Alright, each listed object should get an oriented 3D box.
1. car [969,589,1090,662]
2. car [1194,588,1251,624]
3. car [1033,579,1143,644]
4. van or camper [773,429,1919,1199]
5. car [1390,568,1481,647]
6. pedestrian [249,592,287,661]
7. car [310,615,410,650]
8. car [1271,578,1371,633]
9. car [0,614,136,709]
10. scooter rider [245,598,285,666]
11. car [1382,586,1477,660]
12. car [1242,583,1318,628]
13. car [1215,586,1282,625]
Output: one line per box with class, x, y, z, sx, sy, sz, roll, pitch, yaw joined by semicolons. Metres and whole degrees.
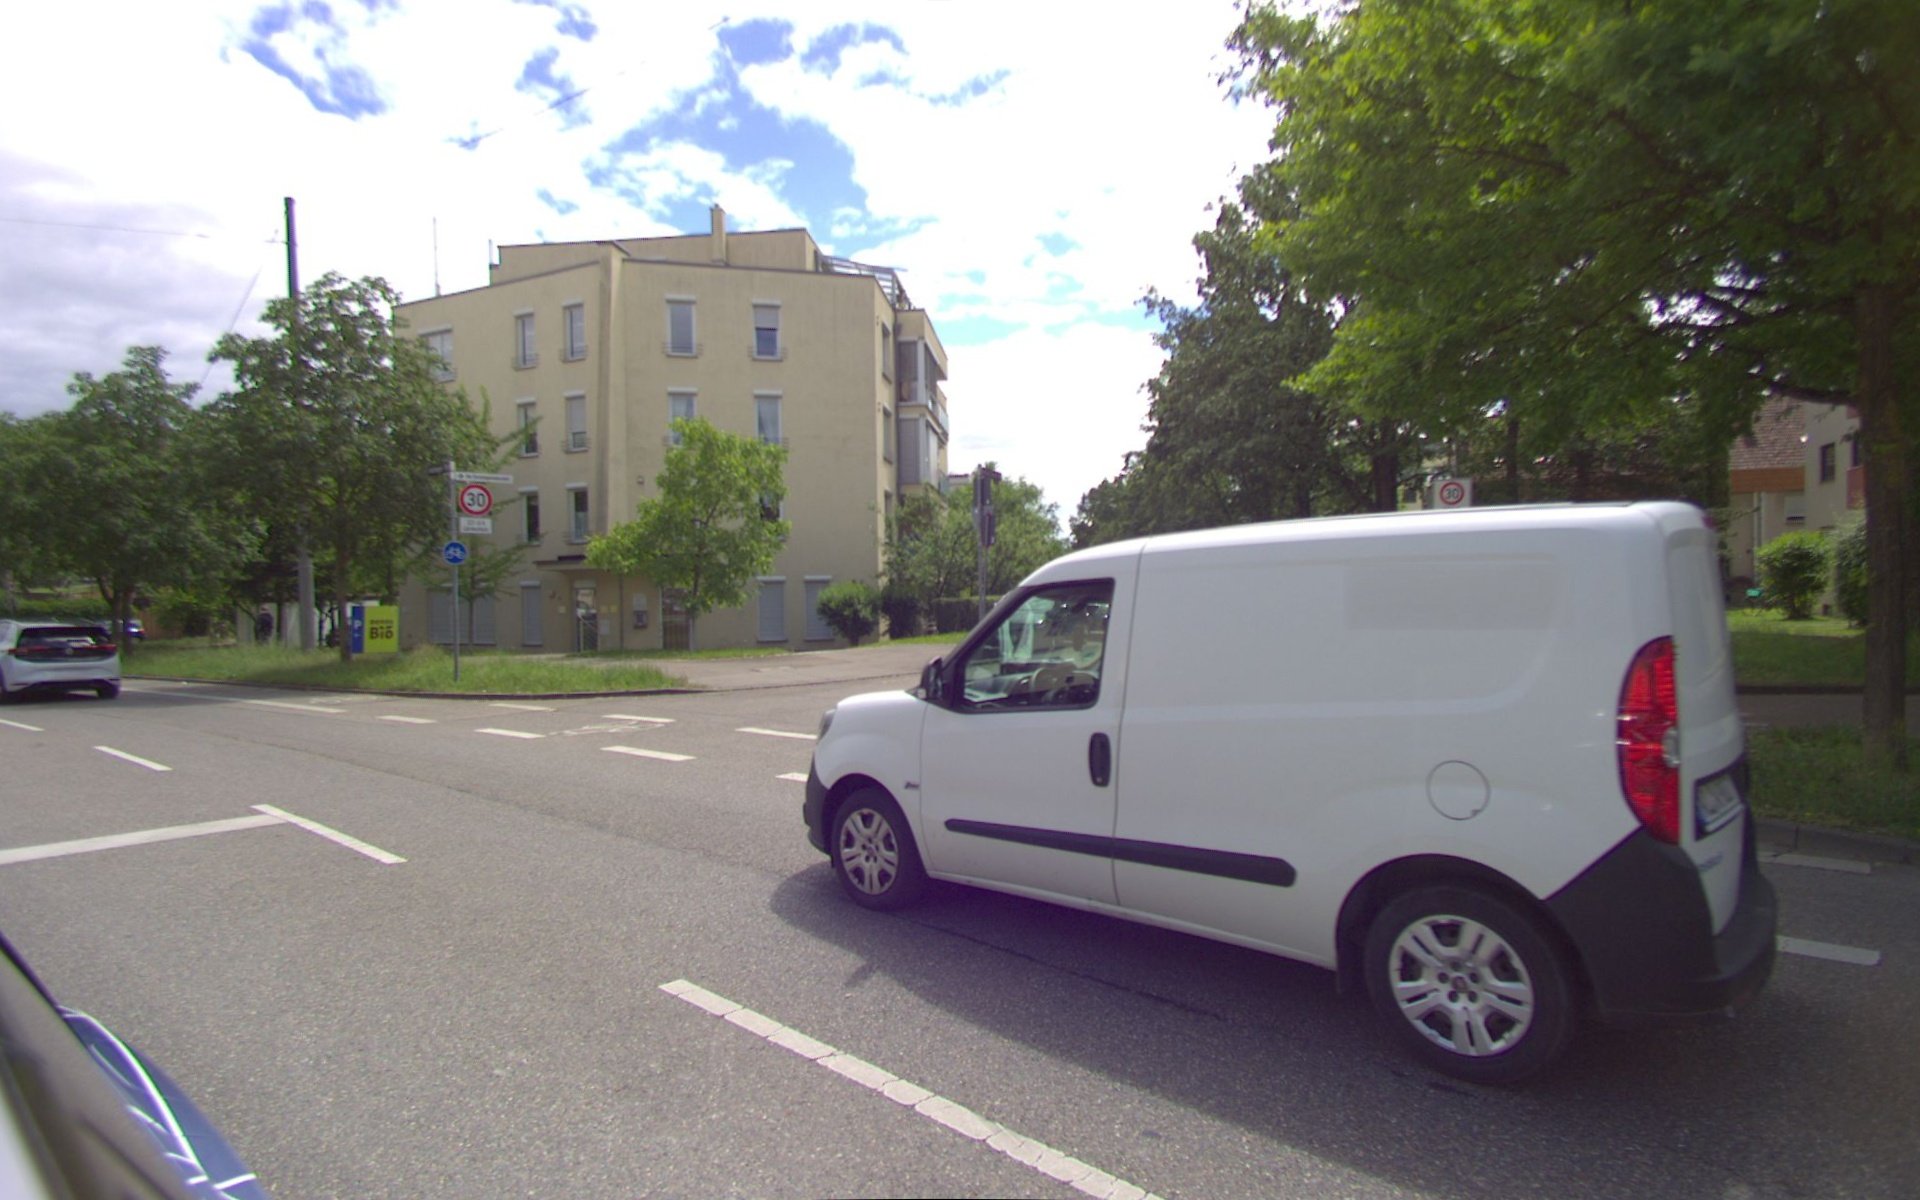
car;1.780;0.565;24.605;1.725;1.408;4.123;-2;3;22
car;13.719;0.284;53.079;1.969;1.716;4.272;-2;0;2
car;3.834;0.260;29.519;2.087;1.615;4.758;0;3;22
van or camper;1.250;0.542;4.475;4.380;1.789;1.840;-2;-1;43
car;12.189;0.233;26.168;1.833;1.858;3.971;-2;-2;22
pedestrian;-21.144;0.807;30.932;0.583;2.028;0.696;-1;3;37
car;-26.260;1.411;44.446;1.771;1.431;3.994;-2;-2;5
car;12.909;0.171;36.480;2.098;1.807;4.415;-2;0;2
car;-17.626;1.084;19.292;3.989;1.592;1.884;0;0;33
scooter rider;-21.369;0.983;31.128;0.792;2.028;0.671;-1;3;35
car;10.201;0.448;22.157;1.686;1.463;3.968;-2;0;24
car;13.325;0.219;42.424;1.917;1.716;4.272;-2;0;2
car;13.501;0.239;47.590;1.969;1.716;4.272;-2;0;2
